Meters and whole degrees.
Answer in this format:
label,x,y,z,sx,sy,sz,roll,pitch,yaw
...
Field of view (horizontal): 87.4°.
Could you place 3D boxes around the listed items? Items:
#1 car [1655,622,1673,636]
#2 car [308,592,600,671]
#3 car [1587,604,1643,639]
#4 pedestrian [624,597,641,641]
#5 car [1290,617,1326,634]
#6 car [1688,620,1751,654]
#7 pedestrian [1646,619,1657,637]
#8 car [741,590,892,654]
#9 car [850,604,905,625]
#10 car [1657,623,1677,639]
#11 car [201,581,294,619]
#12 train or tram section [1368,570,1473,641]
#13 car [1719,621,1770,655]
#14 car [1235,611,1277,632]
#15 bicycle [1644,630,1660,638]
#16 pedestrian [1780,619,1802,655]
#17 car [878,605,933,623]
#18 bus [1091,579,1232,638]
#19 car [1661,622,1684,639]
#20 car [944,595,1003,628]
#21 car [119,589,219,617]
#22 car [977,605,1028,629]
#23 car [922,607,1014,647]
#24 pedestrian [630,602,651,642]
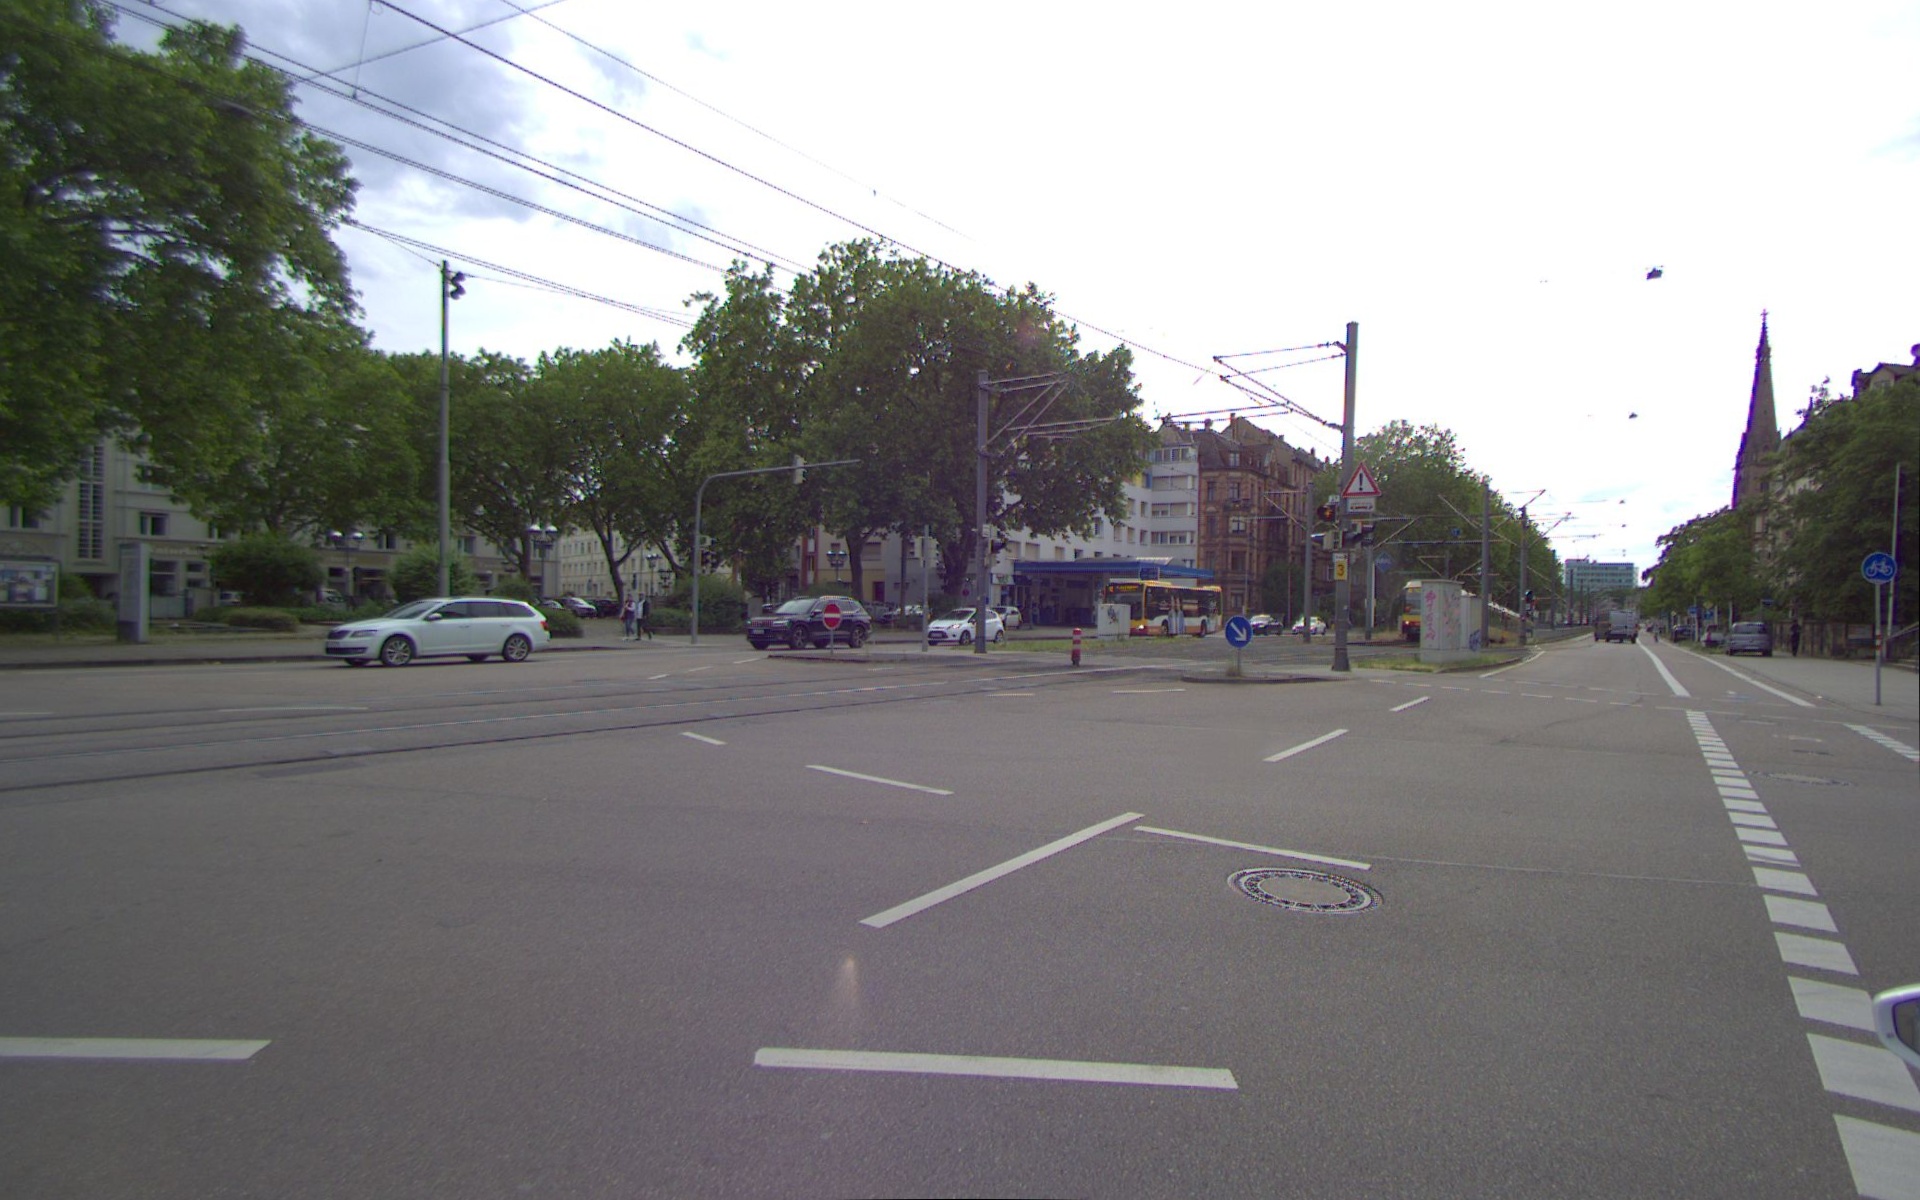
label,x,y,z,sx,sy,sz,roll,pitch,yaw
car,104.724,4.324,149.456,1.966,1.951,3.989,3,1,33
car,-11.034,0.673,22.449,1.816,1.546,5.686,-1,-1,34
car,53.336,1.745,81.909,2.470,2.641,5.828,2,1,21
pedestrian,-11.175,0.646,34.297,0.355,1.498,0.373,1,0,28
car,27.754,2.017,80.080,1.679,1.237,3.878,3,1,34
car,43.699,2.099,57.933,2.169,1.769,5.026,1,0,29
pedestrian,59.438,2.390,86.295,0.641,1.493,0.650,1,0,24
car,-4.449,0.677,31.912,1.679,1.807,5.134,3,1,34
car,-5.721,1.010,69.858,1.679,1.377,3.878,3,1,34
car,93.722,4.105,133.178,1.966,2.040,3.989,3,1,33
car,-42.547,-0.006,60.025,4.736,2.129,2.084,1,0,18
train or tram section,30.986,0.421,67.018,3.594,4.147,14.990,3,1,35
car,38.449,1.830,49.302,1.679,1.478,3.878,3,1,34
car,20.912,1.521,70.924,1.679,1.377,3.878,3,1,34
bicycle,59.337,2.892,86.162,0.601,0.663,2.380,2,0,23
pedestrian,40.507,1.798,48.980,0.767,1.669,0.794,3,1,40
car,-3.678,0.953,68.345,1.704,1.190,3.998,1,0,34
bus,11.753,0.522,57.144,3.237,2.894,12.342,3,1,34
car,83.552,3.521,117.834,1.966,1.907,3.988,1,0,34
car,0.915,0.736,64.741,1.966,2.040,3.988,1,0,34
car,-44.221,0.168,56.197,4.736,1.408,2.084,1,0,18
car,2.709,1.060,63.593,1.679,1.377,3.393,3,1,34
car,0.358,1.029,39.309,1.679,1.416,3.878,3,1,34
pedestrian,-10.901,0.739,34.292,0.448,1.343,0.469,1,0,28
